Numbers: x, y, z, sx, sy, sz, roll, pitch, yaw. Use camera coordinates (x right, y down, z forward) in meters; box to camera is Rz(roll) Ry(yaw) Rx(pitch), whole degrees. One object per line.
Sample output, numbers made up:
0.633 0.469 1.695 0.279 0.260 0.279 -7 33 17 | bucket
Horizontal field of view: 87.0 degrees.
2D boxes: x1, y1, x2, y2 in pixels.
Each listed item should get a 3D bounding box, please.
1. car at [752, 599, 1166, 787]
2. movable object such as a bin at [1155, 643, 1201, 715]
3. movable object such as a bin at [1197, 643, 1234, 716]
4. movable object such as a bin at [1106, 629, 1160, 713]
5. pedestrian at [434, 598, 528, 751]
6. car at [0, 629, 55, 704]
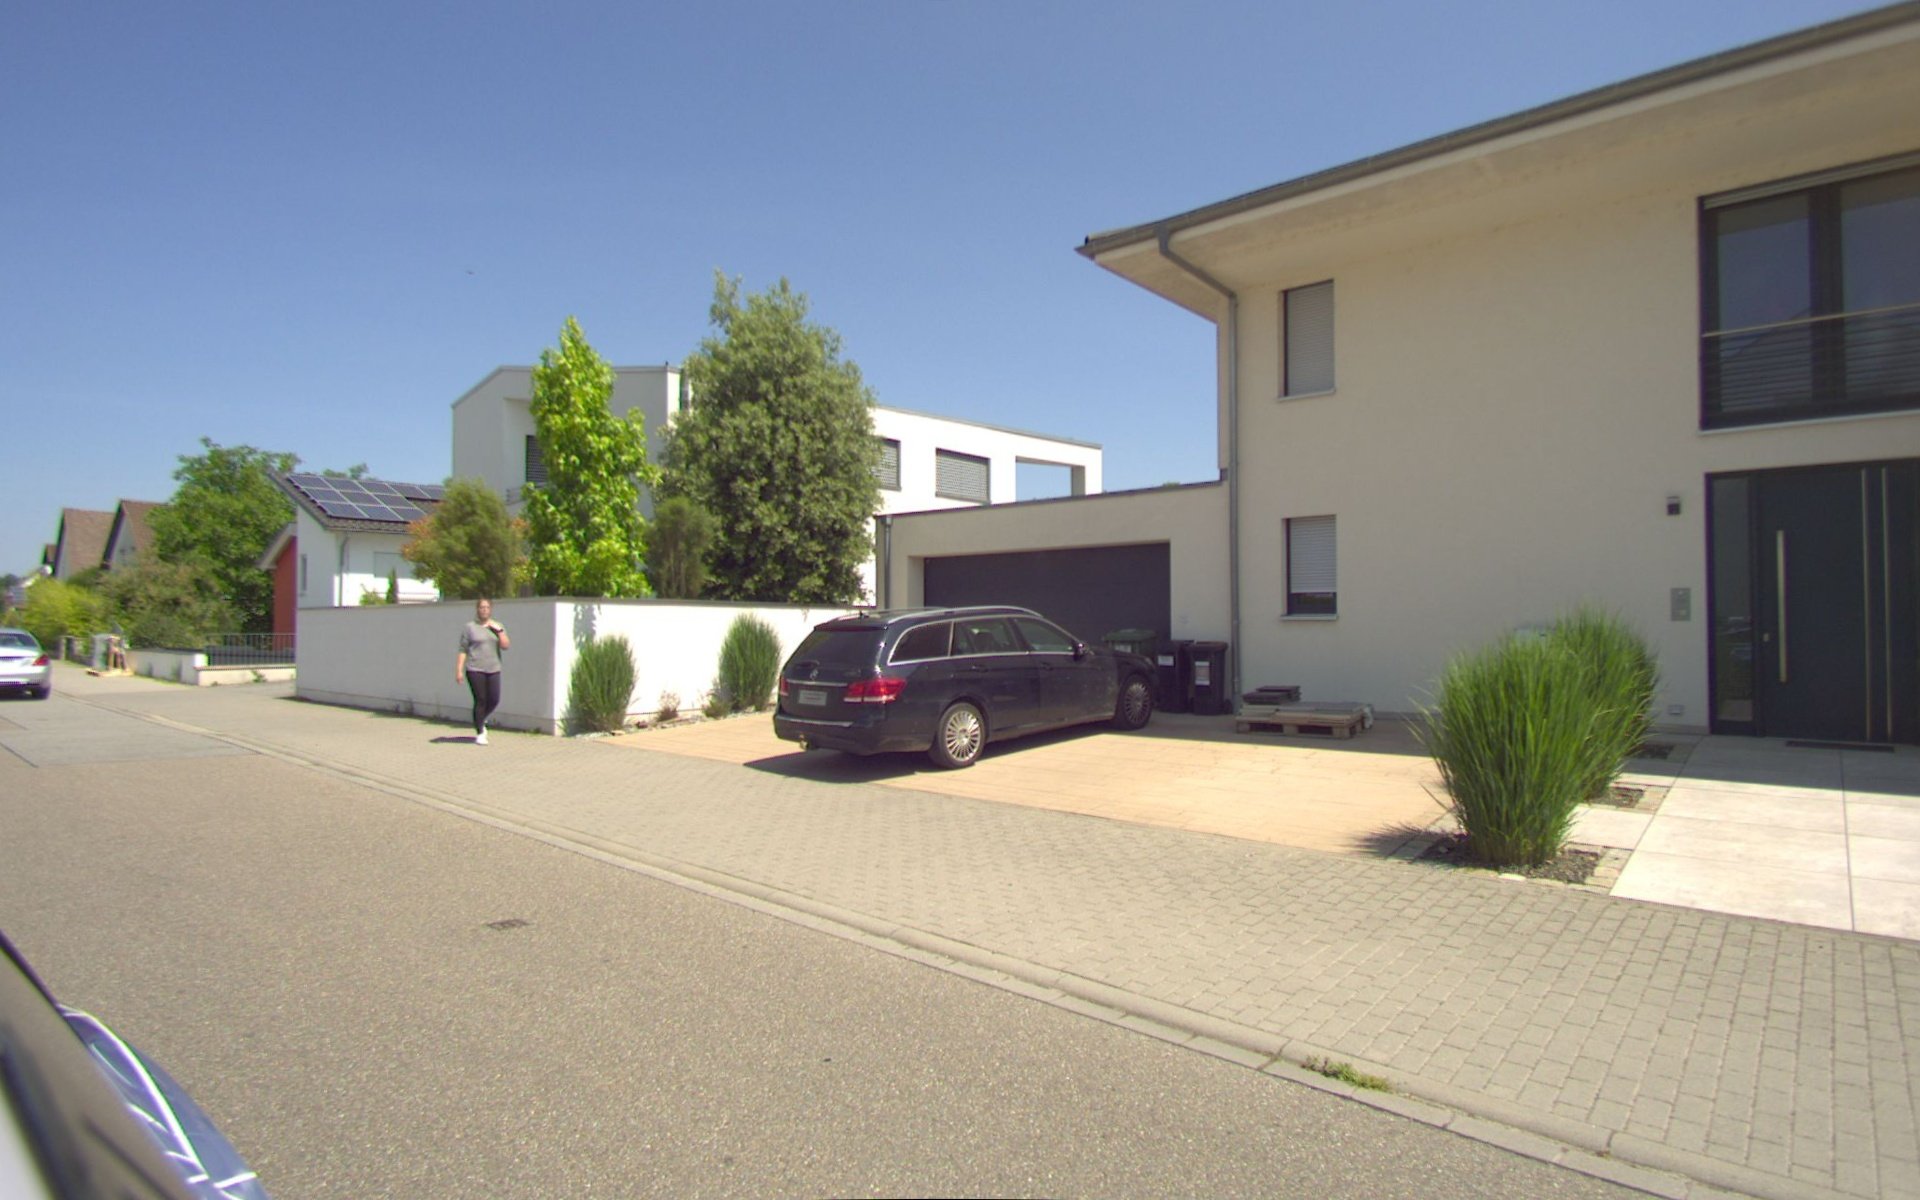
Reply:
0.170 0.811 10.810 1.851 1.484 4.378 -2 0 45 | car
2.774 0.999 12.899 0.475 0.890 0.308 -2 -2 35 | movable object such as a bin
3.178 0.985 12.591 0.394 0.890 0.182 -2 -2 36 | movable object such as a bin
2.281 0.926 13.345 0.588 1.081 0.381 -2 -2 35 | movable object such as a bin
-5.782 0.865 12.211 0.960 1.760 0.707 -2 -1 42 | pedestrian
-21.009 1.381 21.648 4.697 1.490 1.833 -2 -4 41 | car
